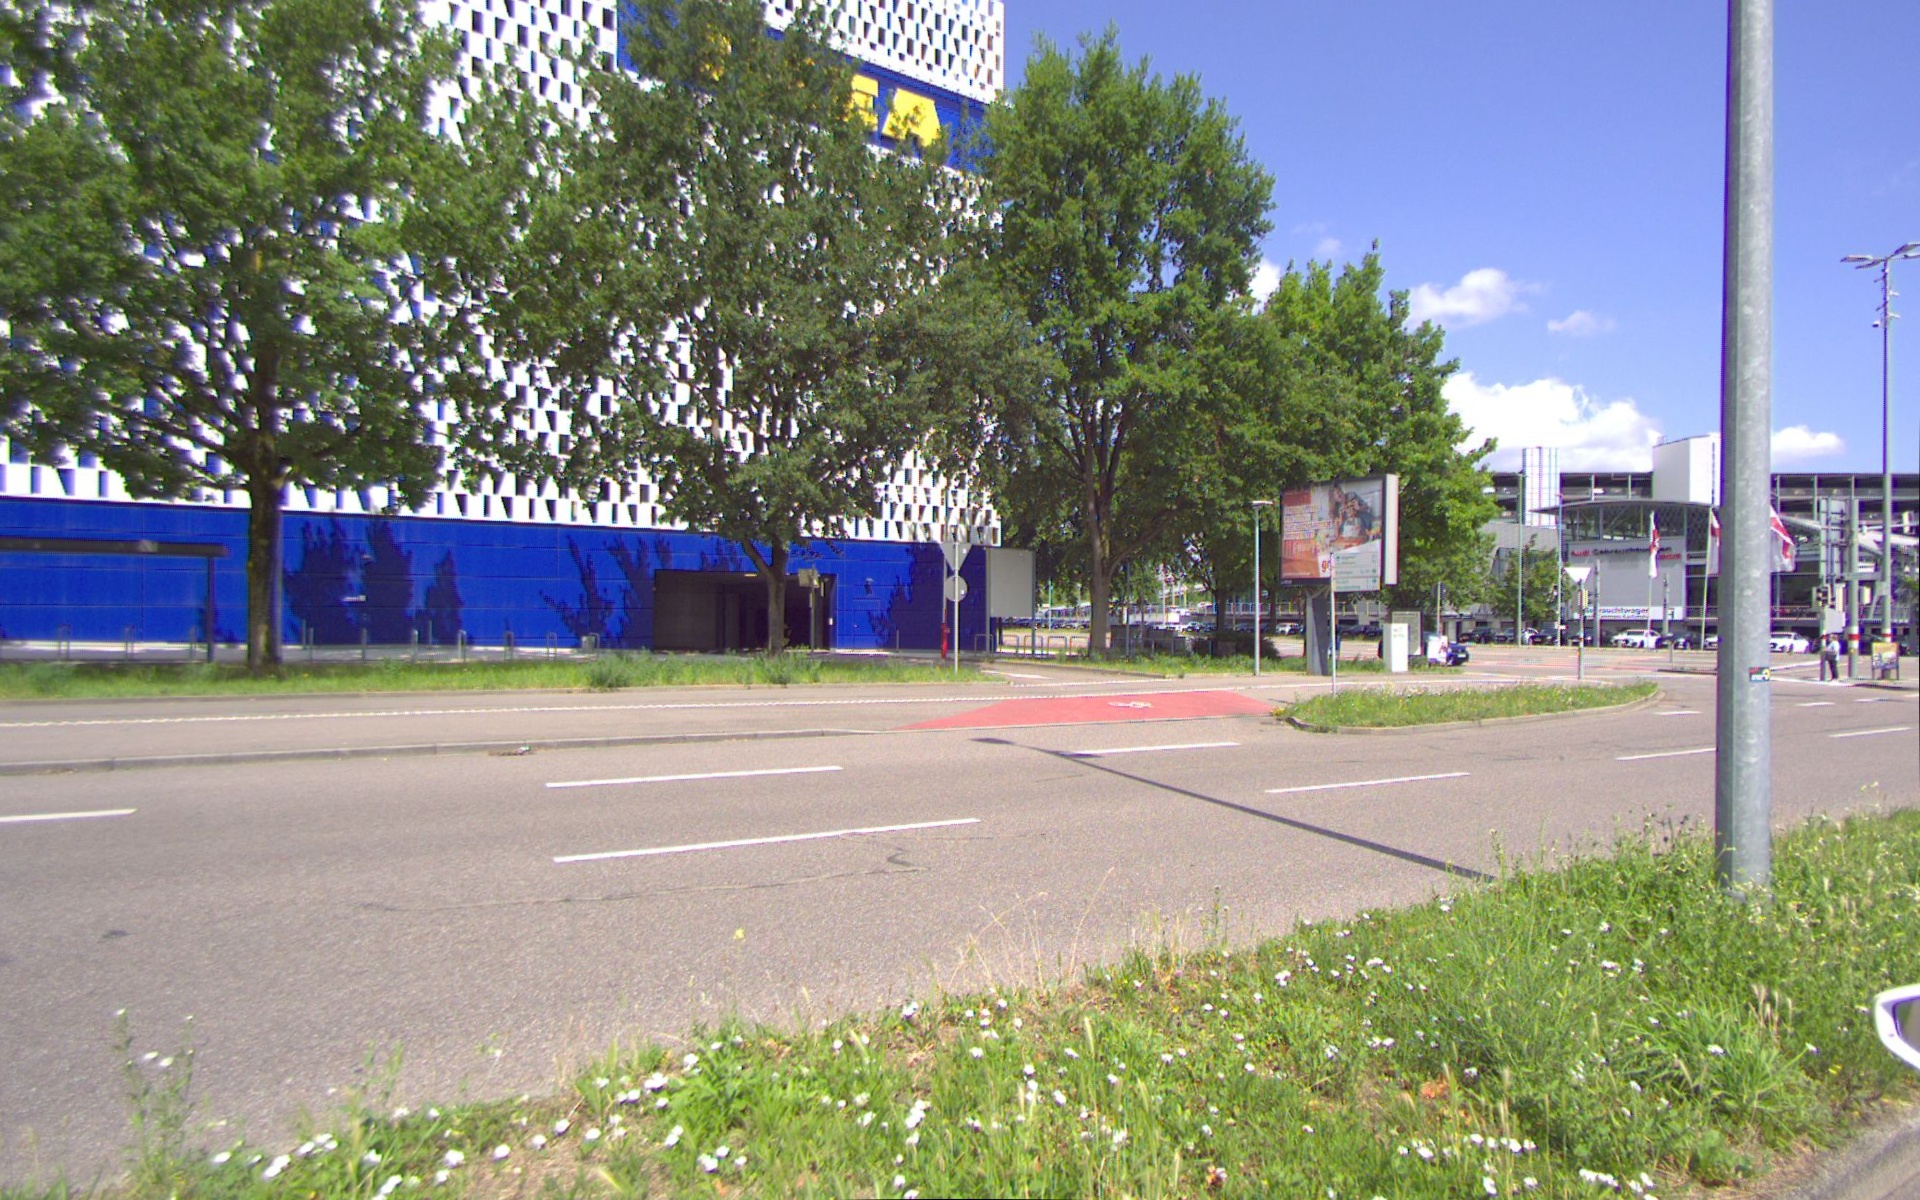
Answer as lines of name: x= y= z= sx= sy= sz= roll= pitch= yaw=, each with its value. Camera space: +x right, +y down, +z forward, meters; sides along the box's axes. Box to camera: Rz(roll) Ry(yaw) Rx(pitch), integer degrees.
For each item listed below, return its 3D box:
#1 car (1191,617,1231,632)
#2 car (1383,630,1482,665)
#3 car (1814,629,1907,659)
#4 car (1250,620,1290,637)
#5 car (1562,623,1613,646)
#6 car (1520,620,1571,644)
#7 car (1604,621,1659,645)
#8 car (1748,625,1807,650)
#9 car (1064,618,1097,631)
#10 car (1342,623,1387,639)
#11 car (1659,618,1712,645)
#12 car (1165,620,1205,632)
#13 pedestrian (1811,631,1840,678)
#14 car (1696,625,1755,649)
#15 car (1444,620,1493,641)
car: x=25.183 y=2.460 z=100.792 sx=3.686 sy=1.409 sz=1.690 roll=2 pitch=0 yaw=-30
car: x=23.034 y=2.281 z=49.037 sx=1.978 sy=1.530 sz=3.965 roll=0 pitch=0 yaw=-32
car: x=52.365 y=2.527 z=58.485 sx=1.662 sy=1.533 sz=3.768 roll=1 pitch=0 yaw=-34
car: x=28.694 y=2.647 z=92.979 sx=3.462 sy=1.409 sz=1.584 roll=2 pitch=0 yaw=-30
car: x=44.574 y=2.424 z=71.335 sx=3.662 sy=1.506 sz=1.717 roll=1 pitch=0 yaw=-34
car: x=43.937 y=2.410 z=75.316 sx=3.753 sy=1.686 sz=1.804 roll=2 pitch=0 yaw=-34
car: x=46.178 y=2.253 z=69.050 sx=3.662 sy=1.506 sz=1.868 roll=1 pitch=0 yaw=-34
car: x=50.654 y=2.294 z=62.239 sx=3.987 sy=1.469 sz=1.765 roll=1 pitch=0 yaw=-34
car: x=14.344 y=2.884 z=119.360 sx=3.686 sy=1.409 sz=1.690 roll=2 pitch=0 yaw=-30
car: x=33.095 y=2.565 z=82.176 sx=3.462 sy=1.207 sz=1.584 roll=2 pitch=0 yaw=-30
car: x=47.773 y=2.030 z=66.136 sx=3.579 sy=1.682 sz=1.746 roll=1 pitch=0 yaw=-34
car: x=23.638 y=2.729 z=105.538 sx=3.952 sy=1.271 sz=1.789 roll=1 pitch=0 yaw=-30
pedestrian: x=28.608 y=1.793 z=33.199 sx=0.502 sy=1.532 sz=0.470 roll=1 pitch=0 yaw=-4
car: x=49.128 y=2.343 z=64.423 sx=3.712 sy=1.394 sz=1.896 roll=1 pitch=0 yaw=-34
car: x=39.081 y=2.299 z=77.185 sx=3.663 sy=1.508 sz=1.825 roll=1 pitch=0 yaw=-35
